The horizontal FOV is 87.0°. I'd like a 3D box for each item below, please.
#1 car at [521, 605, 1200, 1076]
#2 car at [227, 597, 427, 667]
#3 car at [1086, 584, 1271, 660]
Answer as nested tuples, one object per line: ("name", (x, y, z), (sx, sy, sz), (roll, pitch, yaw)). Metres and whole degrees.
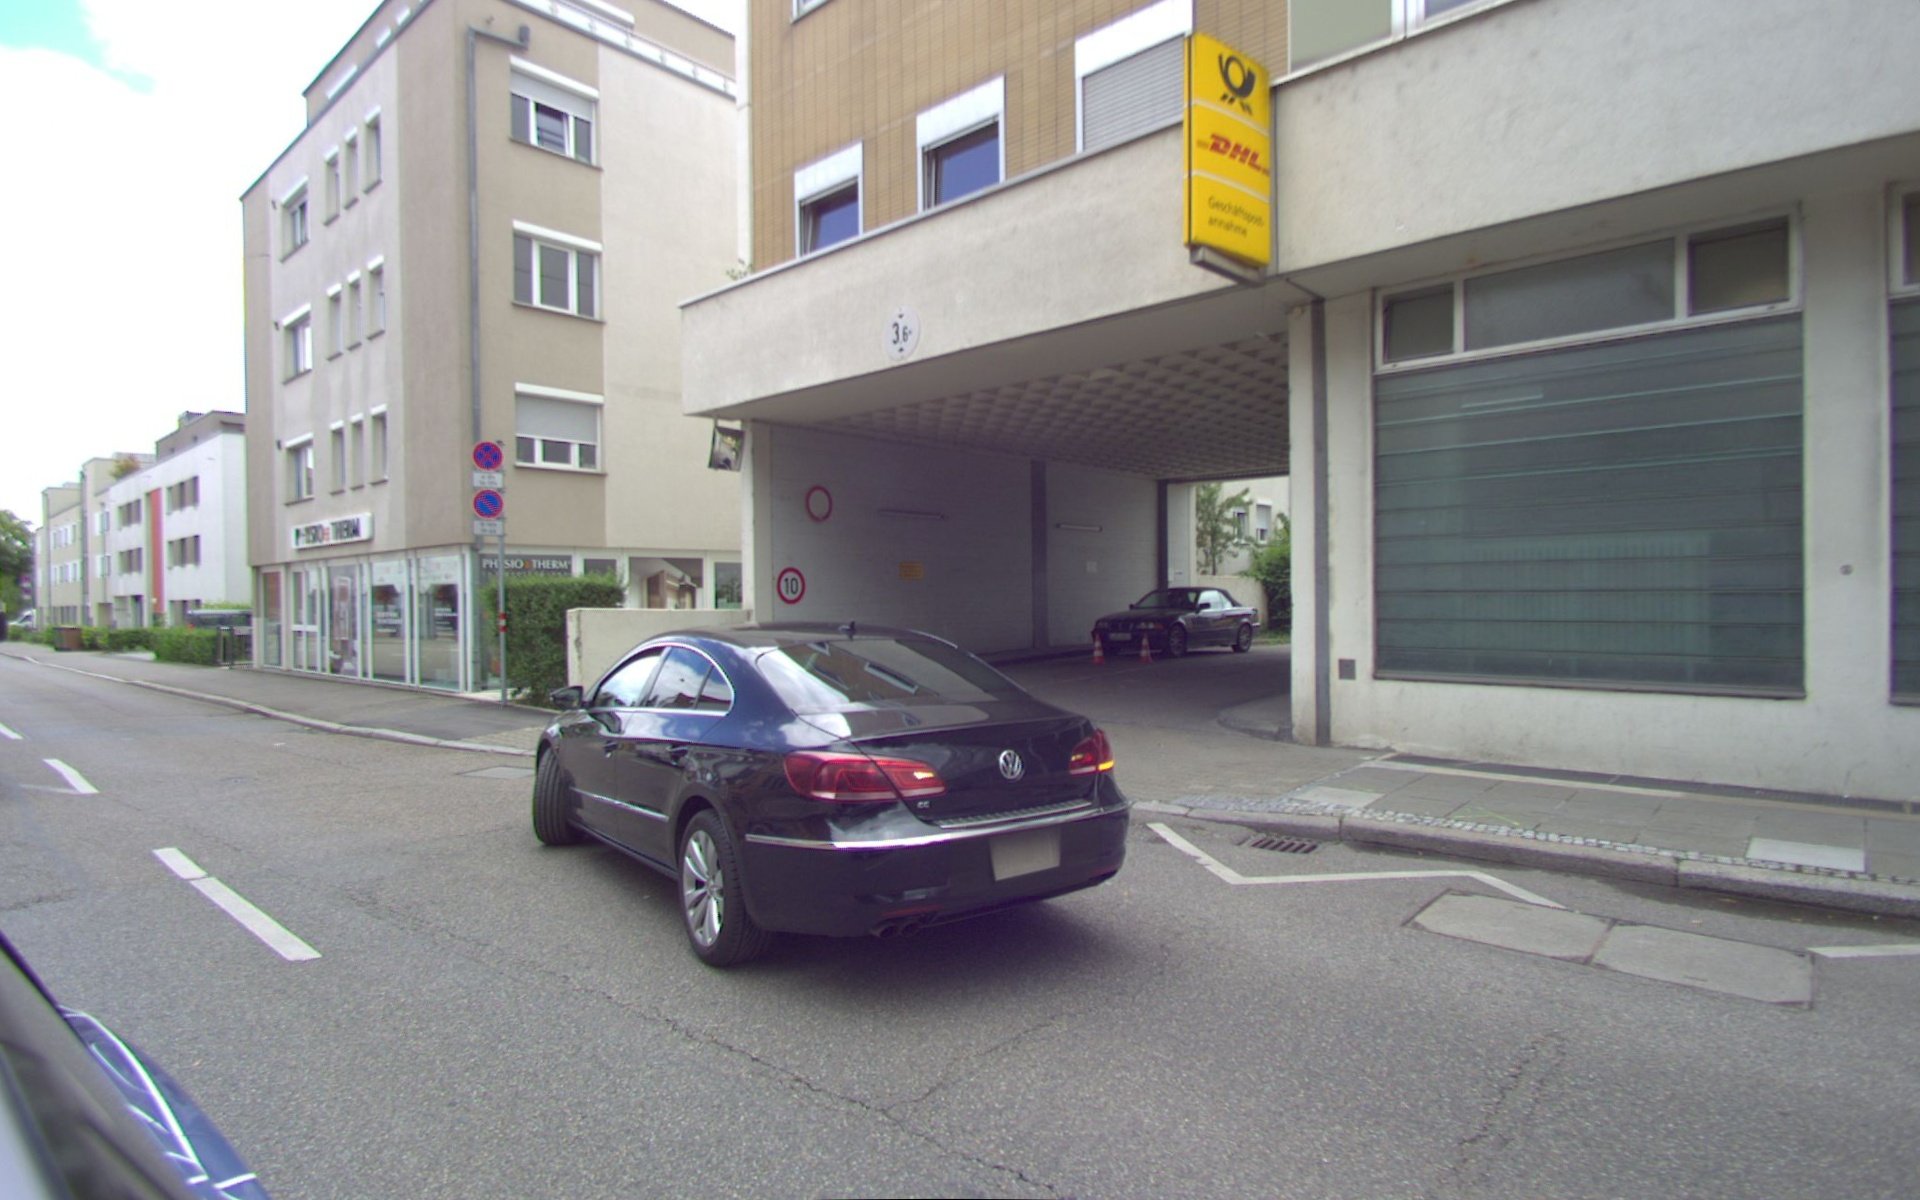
("car", (-0.991, 0.754, 5.406), (1.630, 1.409, 4.465), (-1, 0, -35))
("car", (-19.728, 0.937, 31.708), (1.967, 2.013, 5.014), (-1, -1, 44))
("car", (4.448, 0.367, 20.129), (1.624, 1.333, 4.392), (-1, 0, 42))
